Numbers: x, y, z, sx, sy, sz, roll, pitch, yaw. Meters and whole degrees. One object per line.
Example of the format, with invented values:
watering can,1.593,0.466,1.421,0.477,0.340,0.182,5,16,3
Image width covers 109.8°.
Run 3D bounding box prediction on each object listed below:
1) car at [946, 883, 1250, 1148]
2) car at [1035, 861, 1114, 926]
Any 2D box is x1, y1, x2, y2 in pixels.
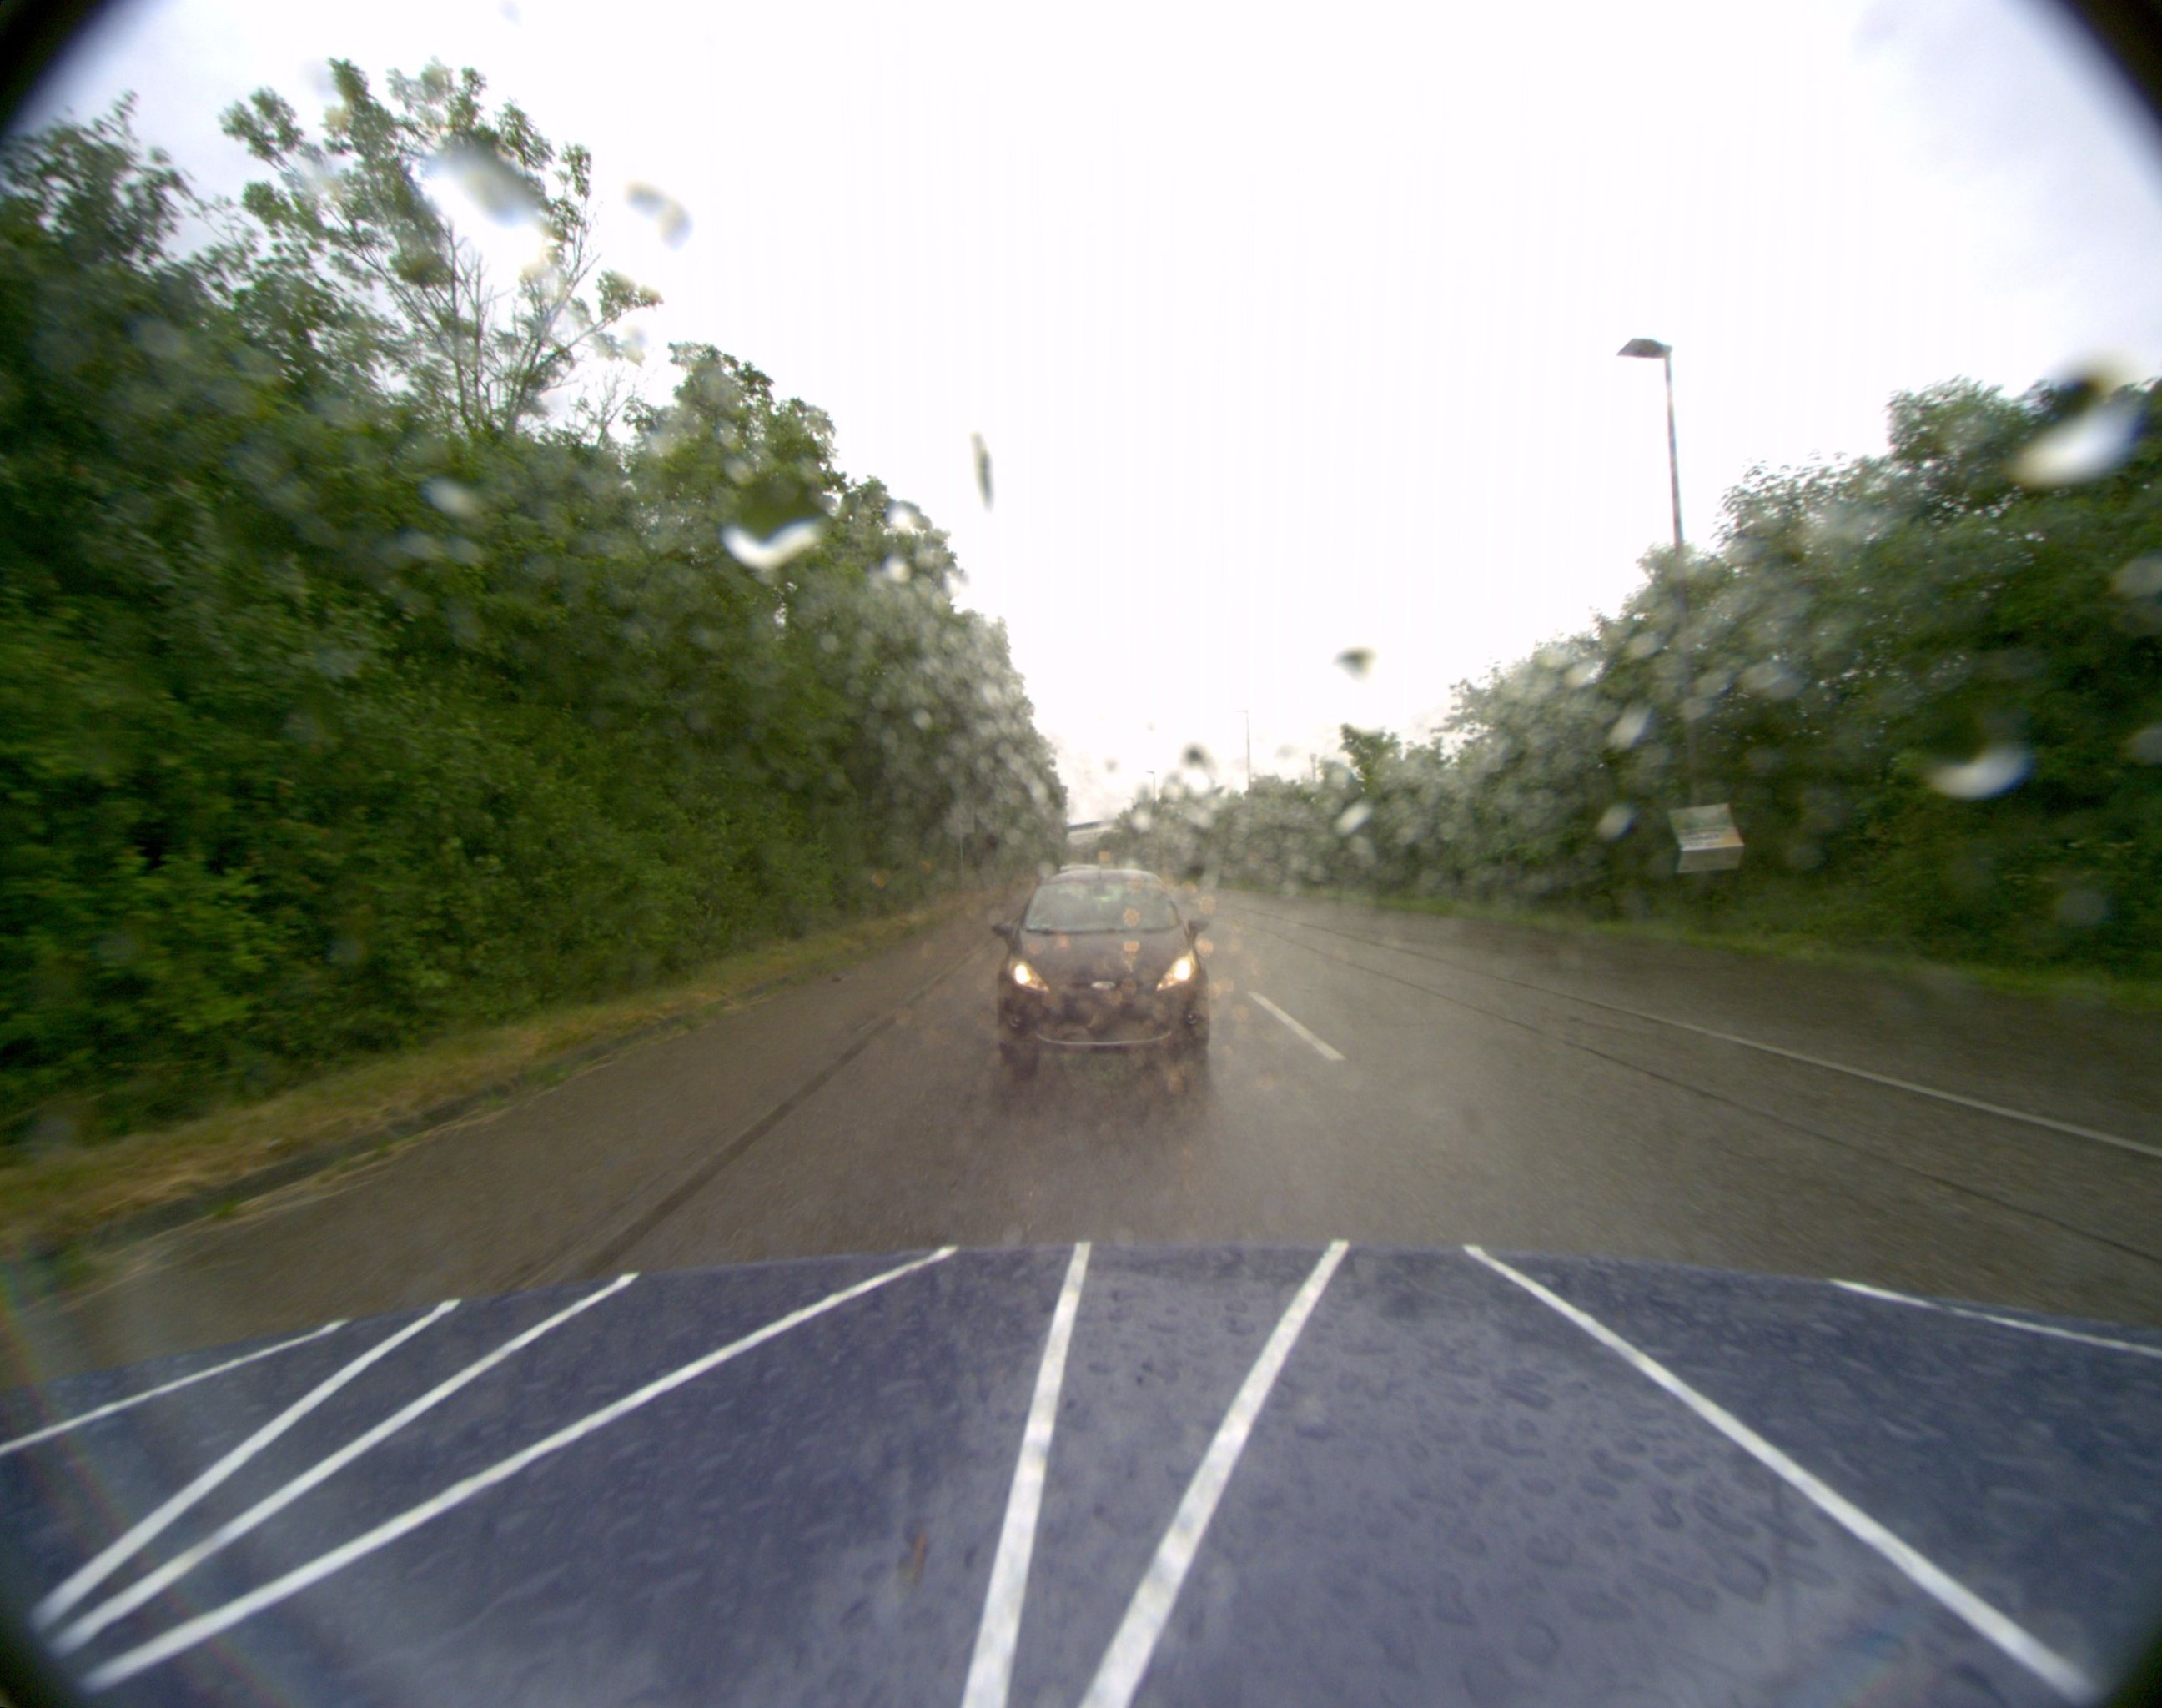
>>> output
car,0.124,1.082,6.866,1.839,1.404,4.342,-2,0,0
car,-0.157,1.046,21.764,1.998,1.576,4.000,-2,0,0
